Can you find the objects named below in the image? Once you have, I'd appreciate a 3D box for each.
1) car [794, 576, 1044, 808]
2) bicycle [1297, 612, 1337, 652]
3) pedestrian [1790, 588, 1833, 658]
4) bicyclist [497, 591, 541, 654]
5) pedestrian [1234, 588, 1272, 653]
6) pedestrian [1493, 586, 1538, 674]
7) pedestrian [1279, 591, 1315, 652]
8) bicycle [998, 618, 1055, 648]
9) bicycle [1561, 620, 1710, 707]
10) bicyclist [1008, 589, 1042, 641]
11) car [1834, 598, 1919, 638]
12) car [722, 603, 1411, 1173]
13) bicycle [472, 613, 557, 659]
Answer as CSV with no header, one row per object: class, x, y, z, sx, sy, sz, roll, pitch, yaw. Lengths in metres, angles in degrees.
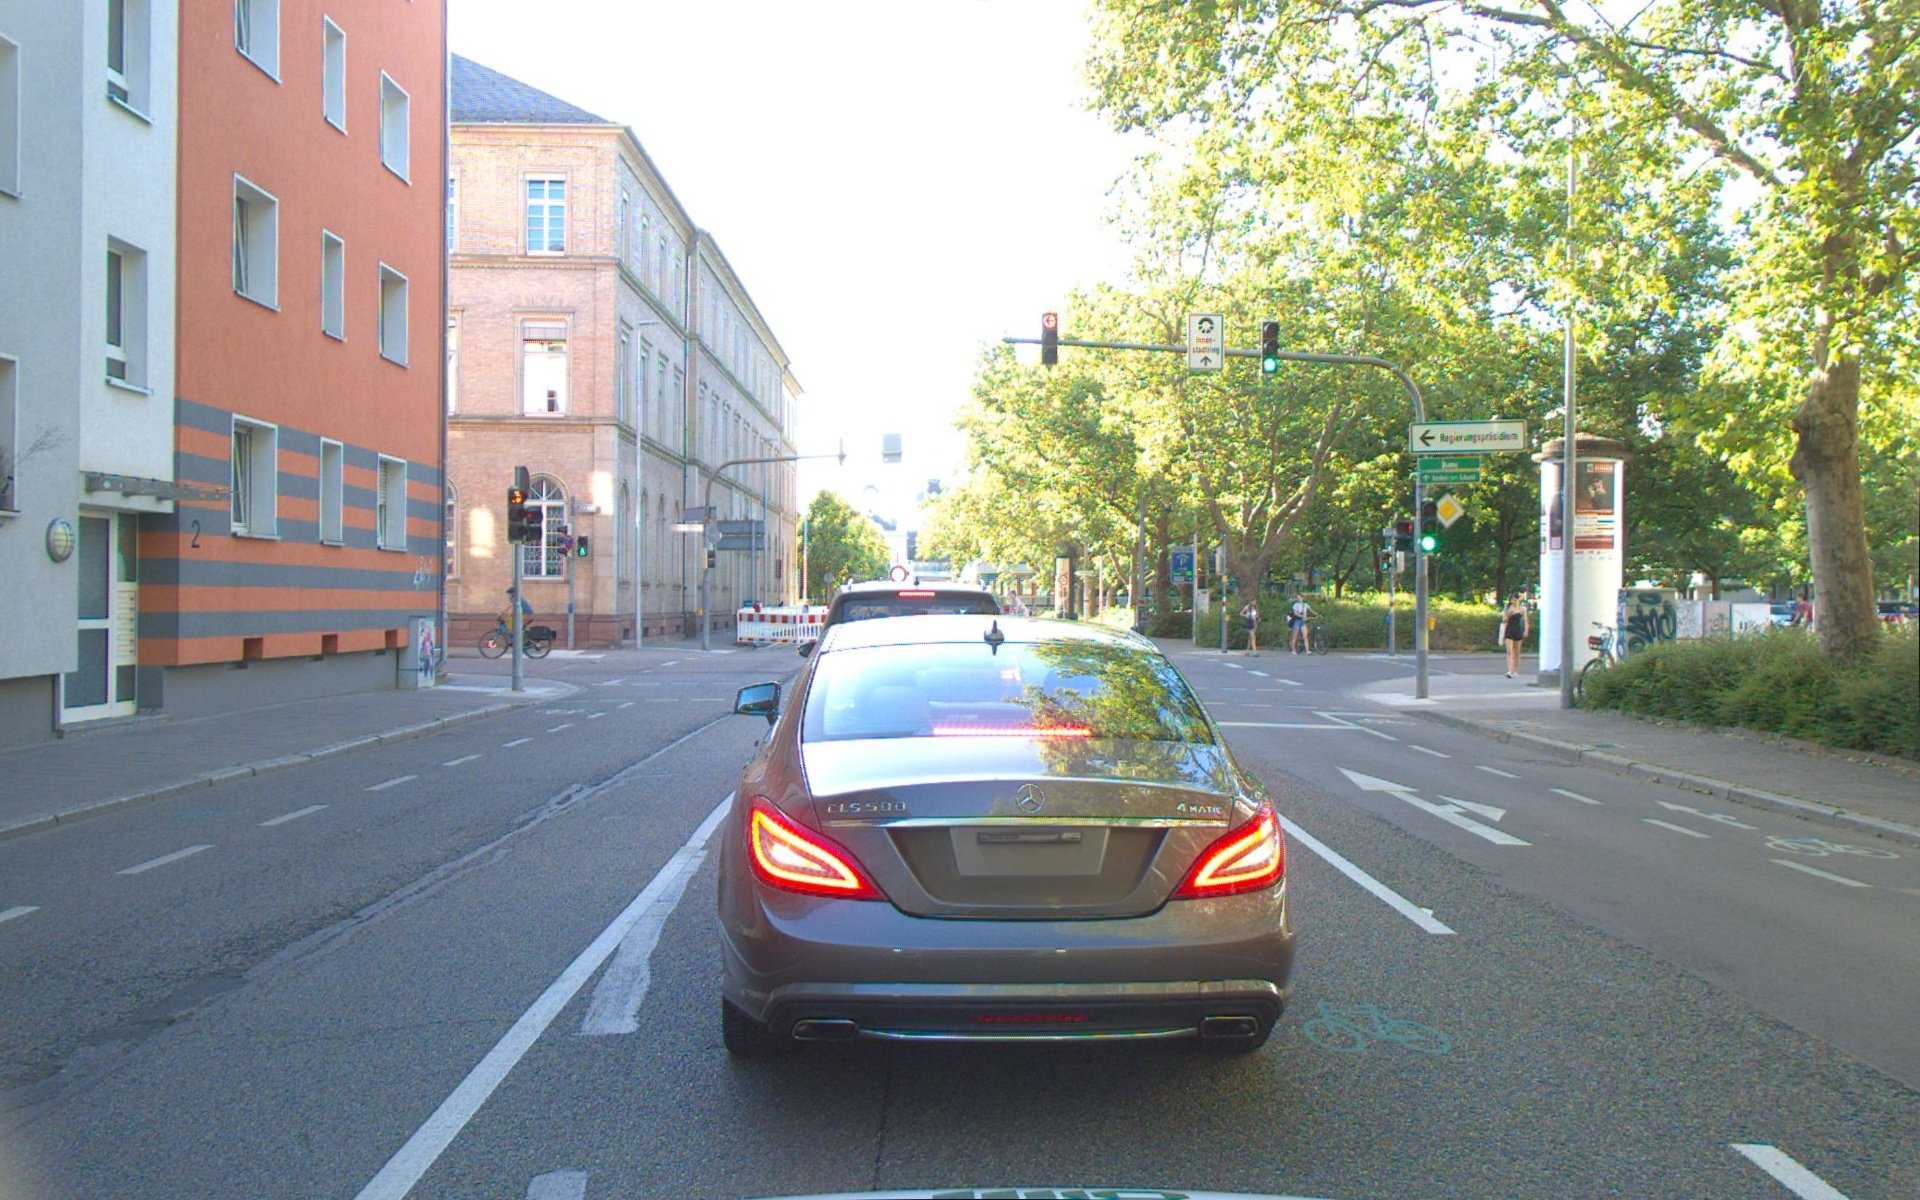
car,-0.261,0.662,13.729,1.772,1.641,4.000,0,0,1
bicycle,10.305,0.925,47.770,0.514,1.119,1.737,1,0,-10
pedestrian,23.114,0.626,44.906,0.765,1.867,0.685,1,-1,-8
bicyclist,-10.797,0.544,40.556,0.932,1.526,0.821,1,-1,-9
pedestrian,8.467,0.593,47.838,0.721,1.840,0.903,0,-2,-21
pedestrian,10.743,0.576,32.014,0.781,1.659,0.908,1,-1,16
pedestrian,9.791,0.619,48.023,0.671,1.727,0.968,1,0,-12
bicycle,2.073,1.040,51.270,1.847,0.906,0.542,1,-1,-37
bicycle,9.702,0.906,23.769,1.936,1.210,0.528,1,-1,-2
bicyclist,2.018,0.471,51.232,0.798,1.586,0.642,1,-1,-37
car,36.270,0.688,65.158,1.596,1.508,3.794,1,0,-2
car,0.073,0.756,6.576,1.807,1.454,4.511,1,0,-6
bicycle,-10.898,0.881,40.532,1.920,1.081,0.705,1,0,-9
